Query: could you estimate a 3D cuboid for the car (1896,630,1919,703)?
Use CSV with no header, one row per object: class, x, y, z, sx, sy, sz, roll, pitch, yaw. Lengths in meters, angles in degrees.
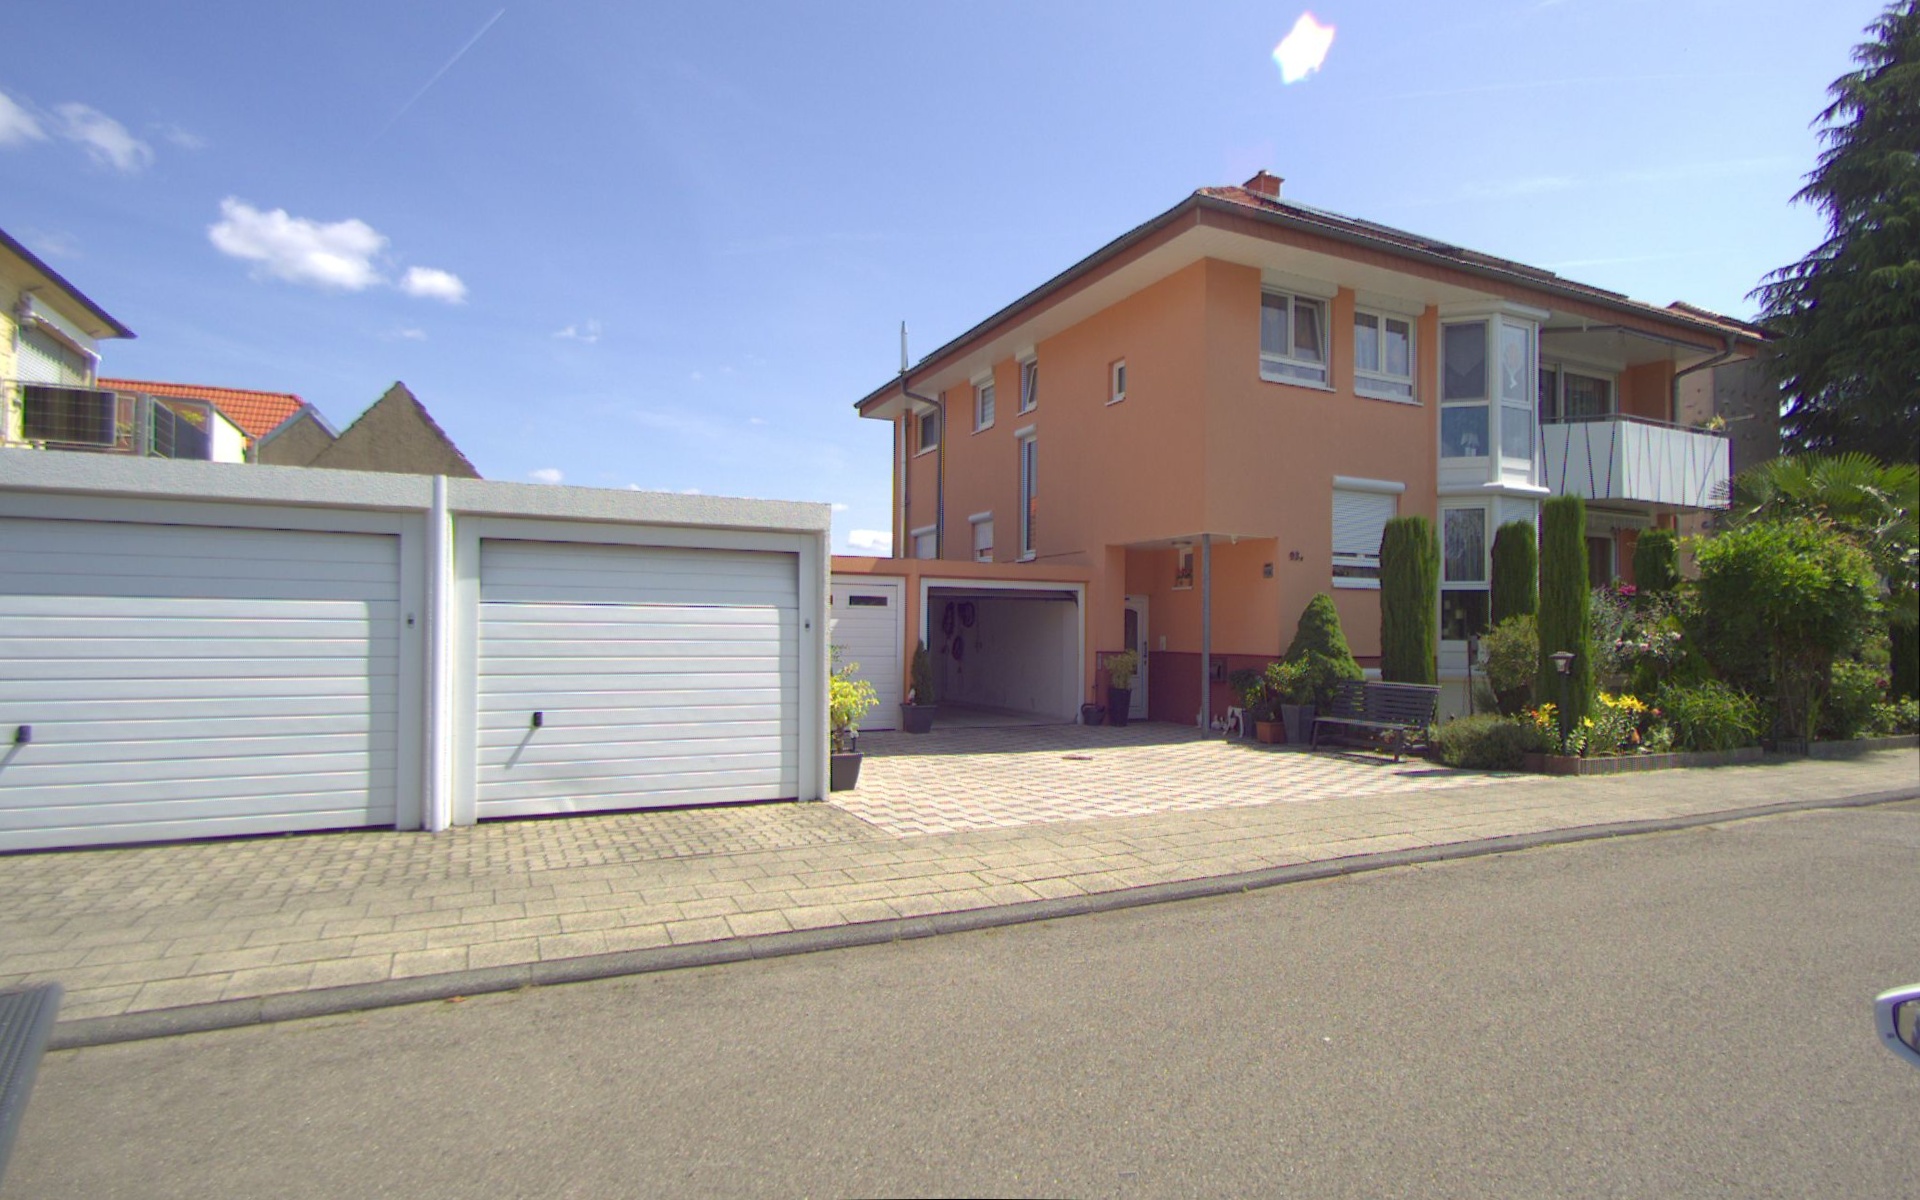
car,23.354,1.483,21.736,1.788,1.675,4.183,1,-2,-23
